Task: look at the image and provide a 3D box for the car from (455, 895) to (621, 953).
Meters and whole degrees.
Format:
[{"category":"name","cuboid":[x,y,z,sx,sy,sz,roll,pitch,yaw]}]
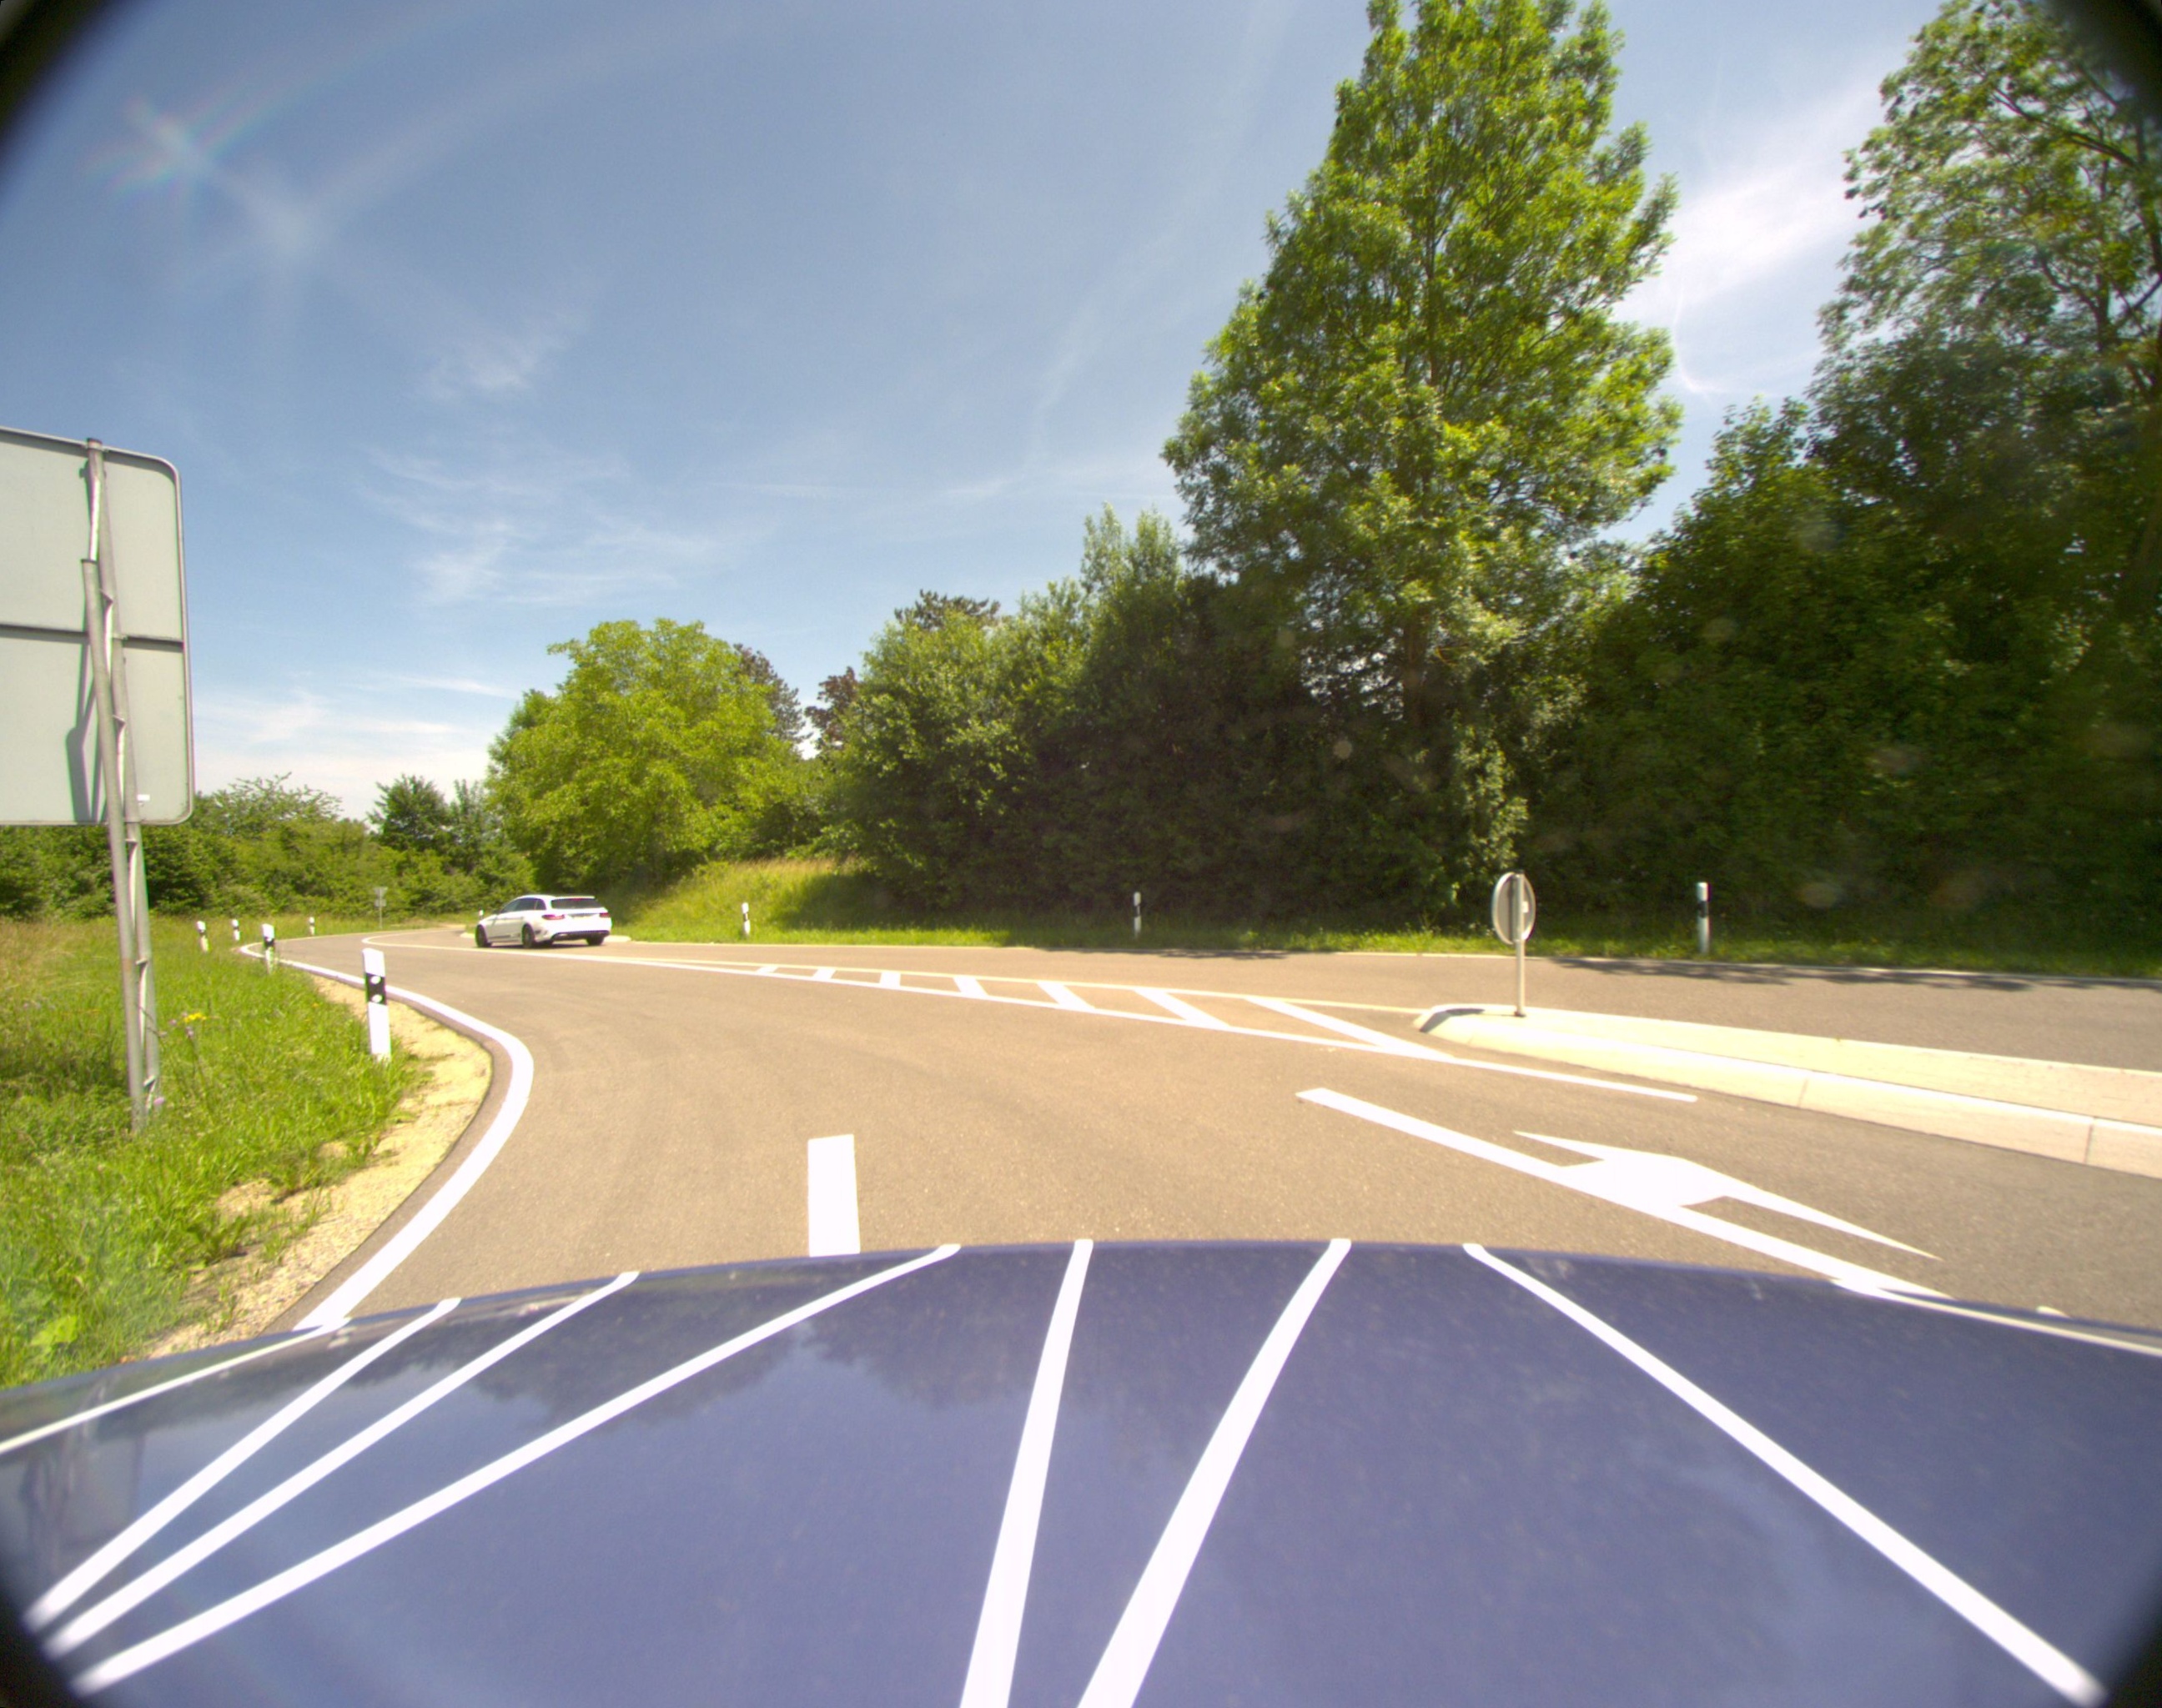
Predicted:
[{"category":"car","cuboid":[-15.256,1.908,21.242,5.320,1.403,1.814,-3,-2,31]}]
